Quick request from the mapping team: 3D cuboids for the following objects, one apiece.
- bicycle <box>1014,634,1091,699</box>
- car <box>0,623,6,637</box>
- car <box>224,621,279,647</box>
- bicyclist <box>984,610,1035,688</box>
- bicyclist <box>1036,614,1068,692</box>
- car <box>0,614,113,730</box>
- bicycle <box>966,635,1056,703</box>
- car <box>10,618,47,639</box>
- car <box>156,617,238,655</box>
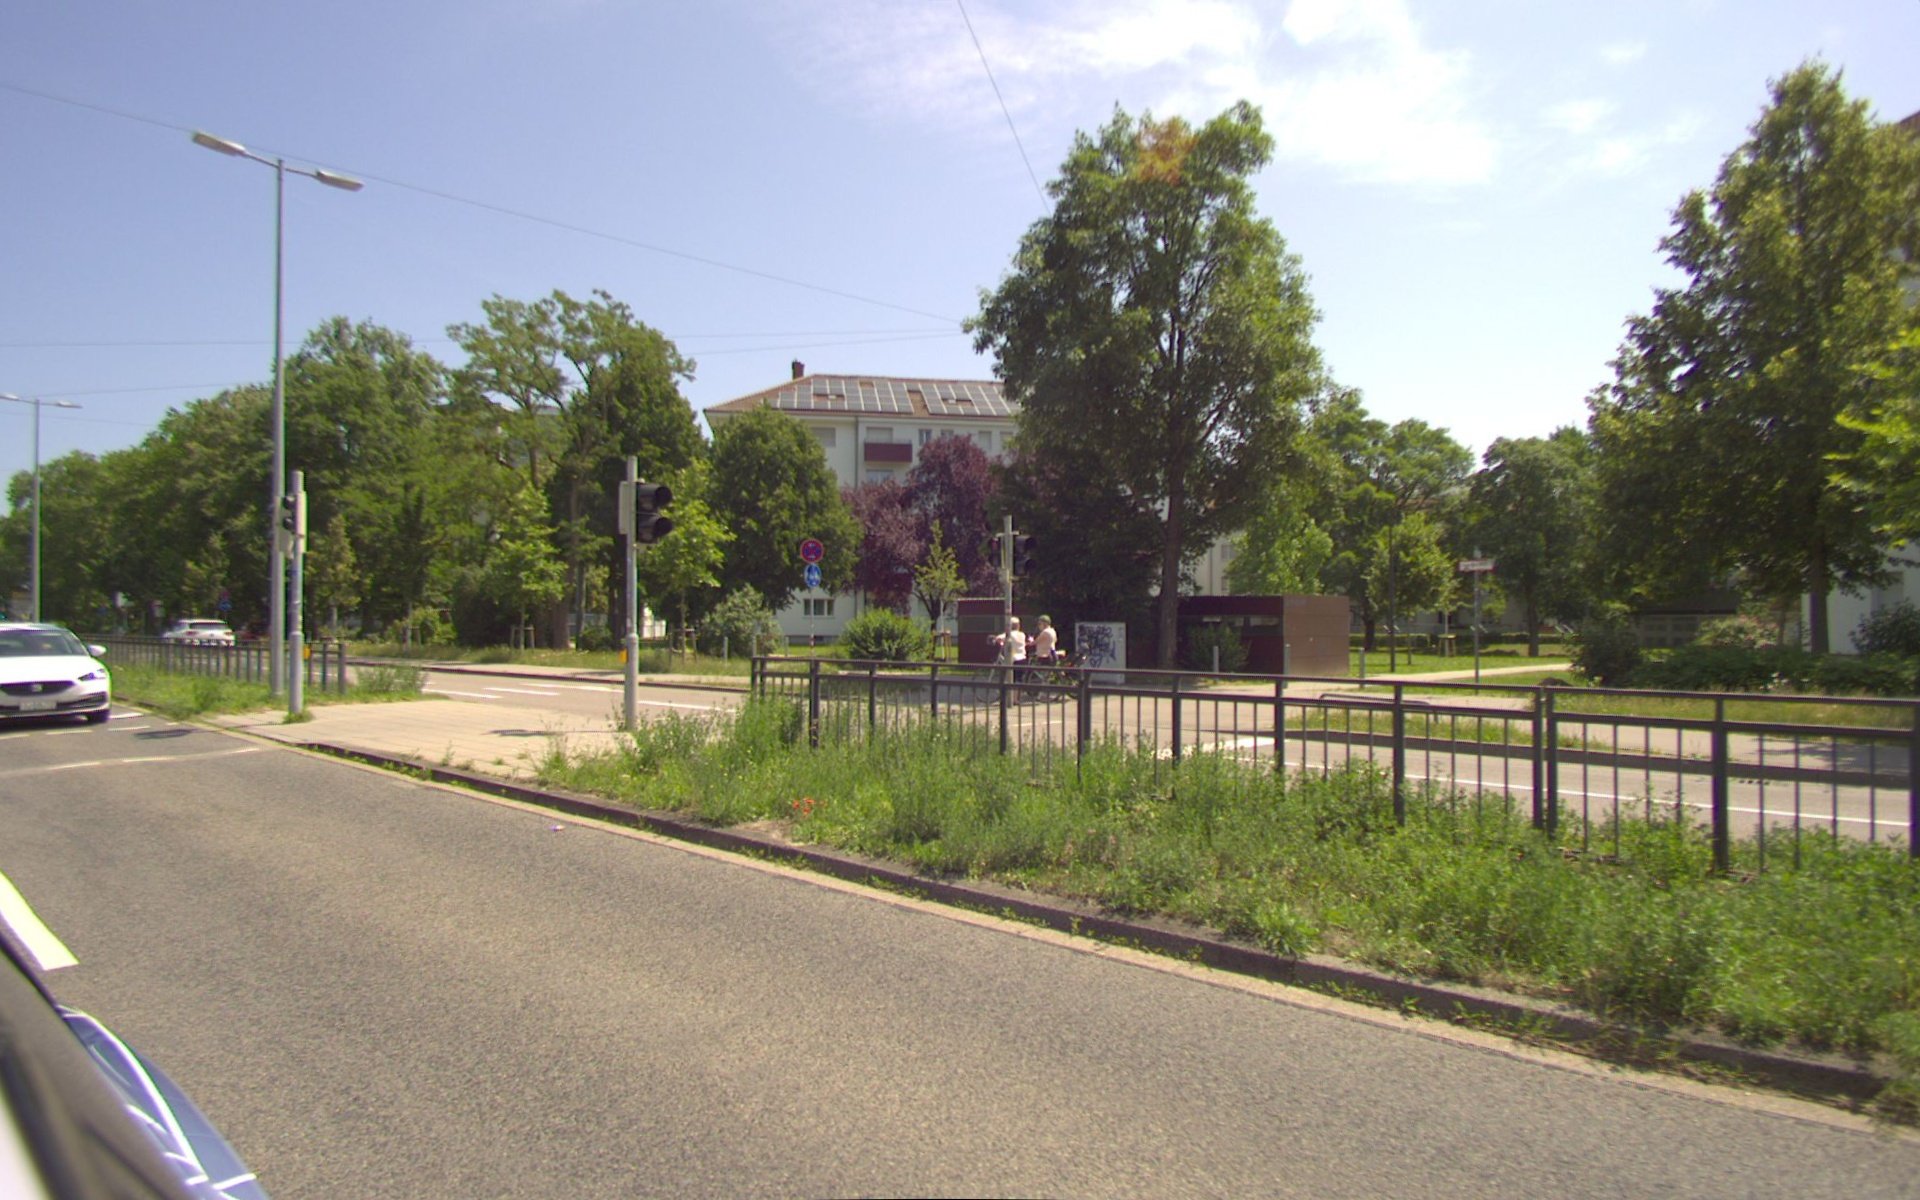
[{"bbox_3d":[1.696,1.197,18.652,1.379,1.102,0.548,0,1,43],"label":"bicycle"},{"bbox_3d":[-109.952,3.434,115.045,4.080,1.566,1.749,-1,-2,40],"label":"car"},{"bbox_3d":[-45.655,2.173,65.207,3.998,1.597,1.973,-1,-2,41],"label":"car"},{"bbox_3d":[0.884,0.869,18.209,0.755,1.356,0.539,-1,-2,40],"label":"bicyclist"},{"bbox_3d":[1.692,0.972,18.652,0.440,1.402,0.353,-1,0,44],"label":"bicyclist"},{"bbox_3d":[-13.890,0.969,14.738,4.109,1.479,1.749,-1,0,41],"label":"car"},{"bbox_3d":[0.909,1.212,18.186,1.615,1.141,0.582,-1,-2,42],"label":"bicycle"},{"bbox_3d":[-86.007,2.634,93.451,4.475,1.771,1.841,-1,1,39],"label":"car"},{"bbox_3d":[-32.799,1.527,43.469,4.342,1.584,1.803,-1,-2,39],"label":"car"}]
